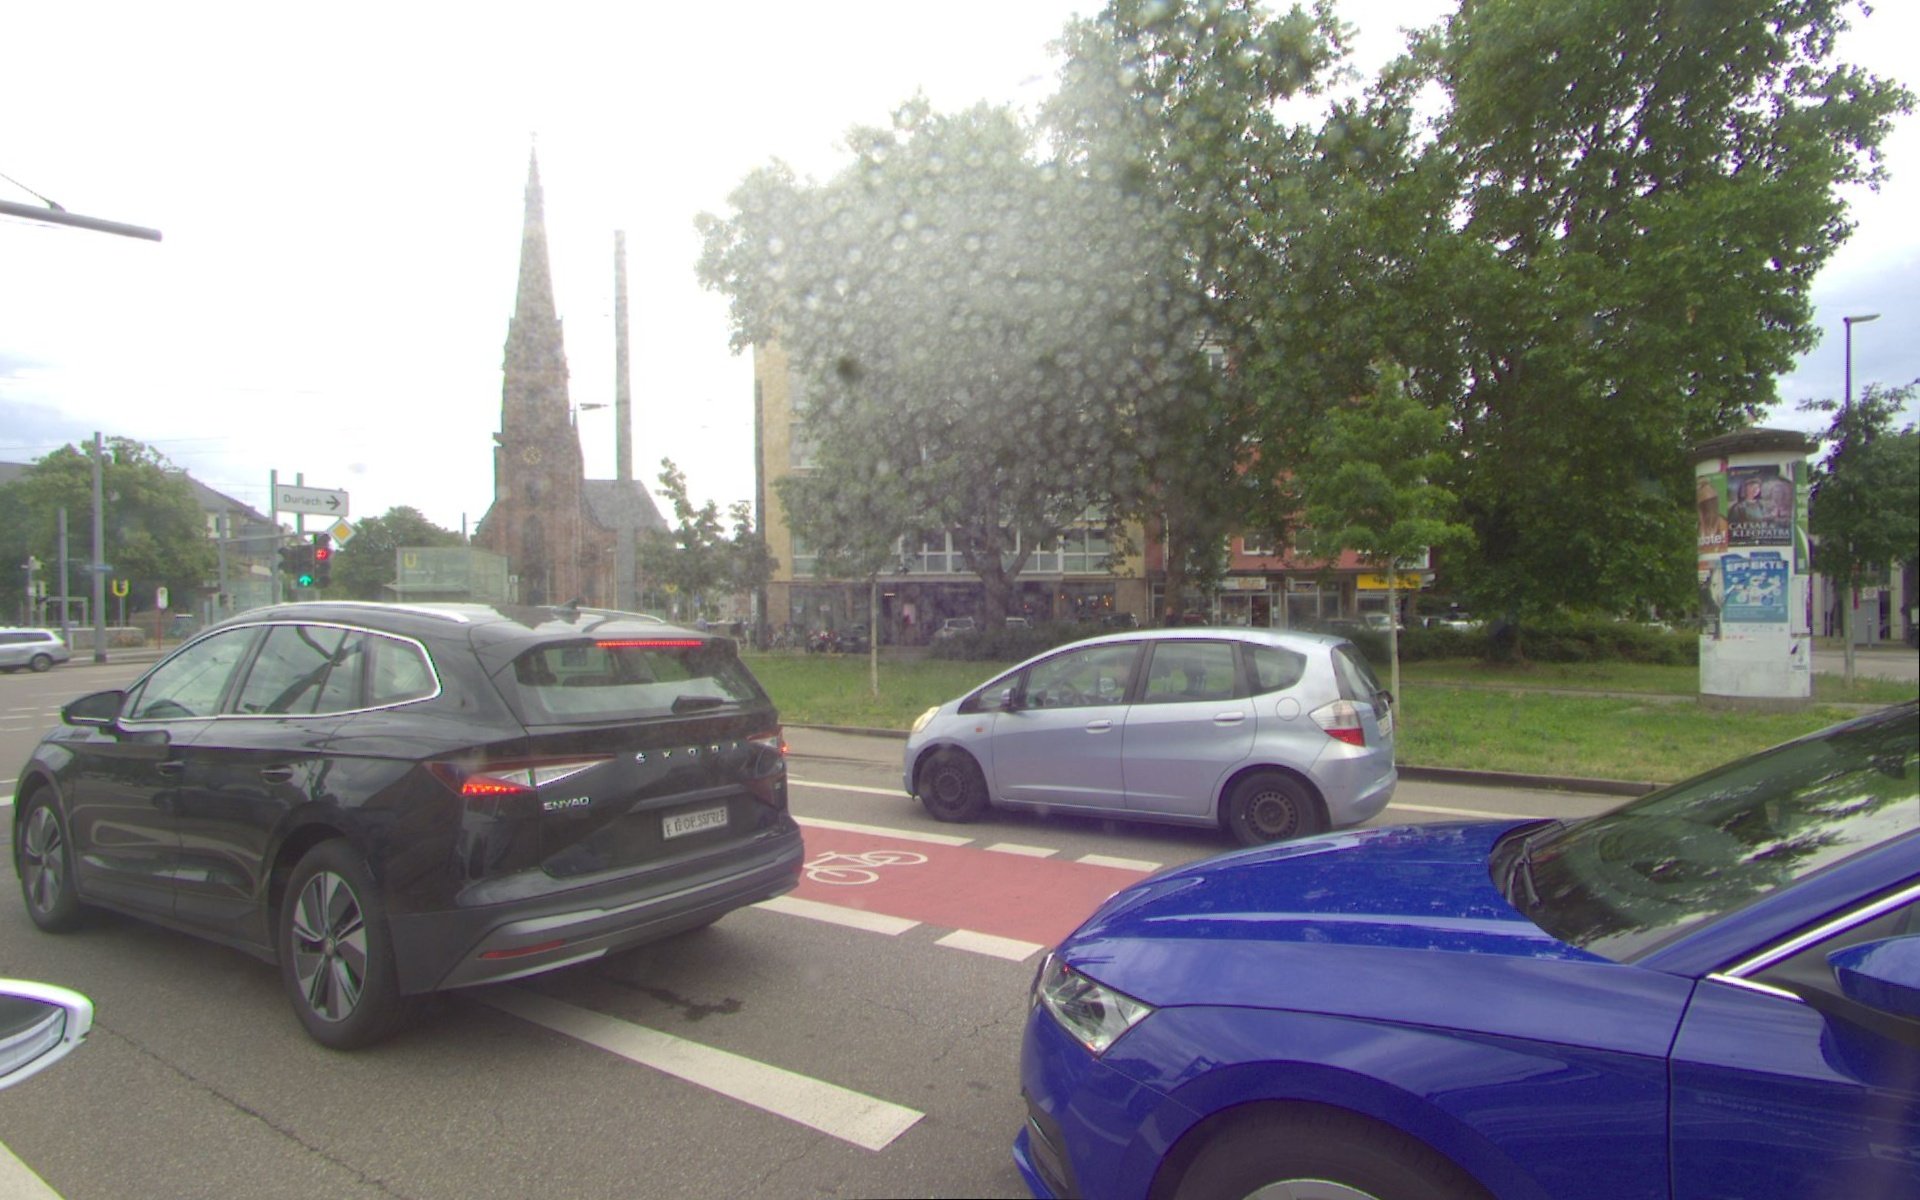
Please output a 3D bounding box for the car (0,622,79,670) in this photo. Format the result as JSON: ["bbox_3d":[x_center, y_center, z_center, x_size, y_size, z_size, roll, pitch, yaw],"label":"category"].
[{"bbox_3d":[-32.486,1.553,33.275,1.694,1.502,4.621,0,0,16],"label":"car"}]

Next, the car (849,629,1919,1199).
[{"bbox_3d":[2.198,0.779,1.642,4.689,1.454,1.762,-1,-2,33],"label":"car"}]

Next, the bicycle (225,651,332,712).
[{"bbox_3d":[-13.410,1.574,19.776,0.568,1.012,1.991,-1,1,6],"label":"bicycle"}]

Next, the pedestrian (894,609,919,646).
[{"bbox_3d":[-2.653,1.347,49.547,1.032,1.780,0.786,-1,1,-22],"label":"pedestrian"}]

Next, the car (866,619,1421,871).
[{"bbox_3d":[1.342,0.918,7.705,3.875,1.502,1.703,-1,-2,31],"label":"car"}]

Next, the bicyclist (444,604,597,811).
[{"bbox_3d":[-3.730,0.875,8.517,0.919,1.639,0.788,-1,-2,30],"label":"bicyclist"}]

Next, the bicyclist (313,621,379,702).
[{"bbox_3d":[-11.933,1.177,19.479,0.659,1.542,0.886,0,0,12],"label":"bicyclist"}]

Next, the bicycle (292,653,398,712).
[{"bbox_3d":[-11.930,1.581,19.508,0.590,1.011,1.945,0,-1,12],"label":"bicycle"}]

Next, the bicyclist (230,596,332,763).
[{"bbox_3d":[-7.237,0.816,10.678,0.794,1.713,0.614,0,0,30],"label":"bicyclist"}]

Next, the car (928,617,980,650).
[{"bbox_3d":[-0.310,1.528,46.679,1.962,1.483,3.999,0,-1,-7],"label":"car"}]

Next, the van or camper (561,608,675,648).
[{"bbox_3d":[-18.347,1.449,53.804,5.404,2.004,2.155,0,-1,-39],"label":"van or camper"}]

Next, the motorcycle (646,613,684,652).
[{"bbox_3d":[-11.009,1.194,37.449,1.027,1.384,2.291,-1,0,-9],"label":"motorcycle"}]

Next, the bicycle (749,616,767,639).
[{"bbox_3d":[-10.724,1.456,53.259,0.657,1.184,2.040,0,0,-3],"label":"bicycle"}]

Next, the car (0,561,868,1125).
[{"bbox_3d":[-2.816,0.757,4.938,4.448,1.680,1.901,-1,0,30],"label":"car"}]

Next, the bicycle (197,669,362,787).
[{"bbox_3d":[-7.306,1.324,10.723,2.094,1.069,0.624,0,0,31],"label":"bicycle"}]

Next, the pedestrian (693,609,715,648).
[{"bbox_3d":[-11.768,1.309,46.032,0.797,1.760,0.906,0,1,-2],"label":"pedestrian"}]

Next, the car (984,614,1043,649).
[{"bbox_3d":[2.444,1.447,47.010,1.962,1.461,3.997,-1,0,-9],"label":"car"}]

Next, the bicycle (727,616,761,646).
[{"bbox_3d":[-10.221,1.451,47.470,0.886,1.395,2.784,0,0,2],"label":"bicycle"}]

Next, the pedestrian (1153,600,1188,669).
[{"bbox_3d":[5.730,0.928,27.263,0.881,1.843,0.866,0,1,8],"label":"pedestrian"}]

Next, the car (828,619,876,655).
[{"bbox_3d":[-4.882,1.646,45.815,1.806,1.462,4.166,-1,0,-1],"label":"car"}]

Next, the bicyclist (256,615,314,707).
[{"bbox_3d":[-13.415,1.190,19.914,0.574,1.775,0.734,0,2,6],"label":"bicyclist"}]
